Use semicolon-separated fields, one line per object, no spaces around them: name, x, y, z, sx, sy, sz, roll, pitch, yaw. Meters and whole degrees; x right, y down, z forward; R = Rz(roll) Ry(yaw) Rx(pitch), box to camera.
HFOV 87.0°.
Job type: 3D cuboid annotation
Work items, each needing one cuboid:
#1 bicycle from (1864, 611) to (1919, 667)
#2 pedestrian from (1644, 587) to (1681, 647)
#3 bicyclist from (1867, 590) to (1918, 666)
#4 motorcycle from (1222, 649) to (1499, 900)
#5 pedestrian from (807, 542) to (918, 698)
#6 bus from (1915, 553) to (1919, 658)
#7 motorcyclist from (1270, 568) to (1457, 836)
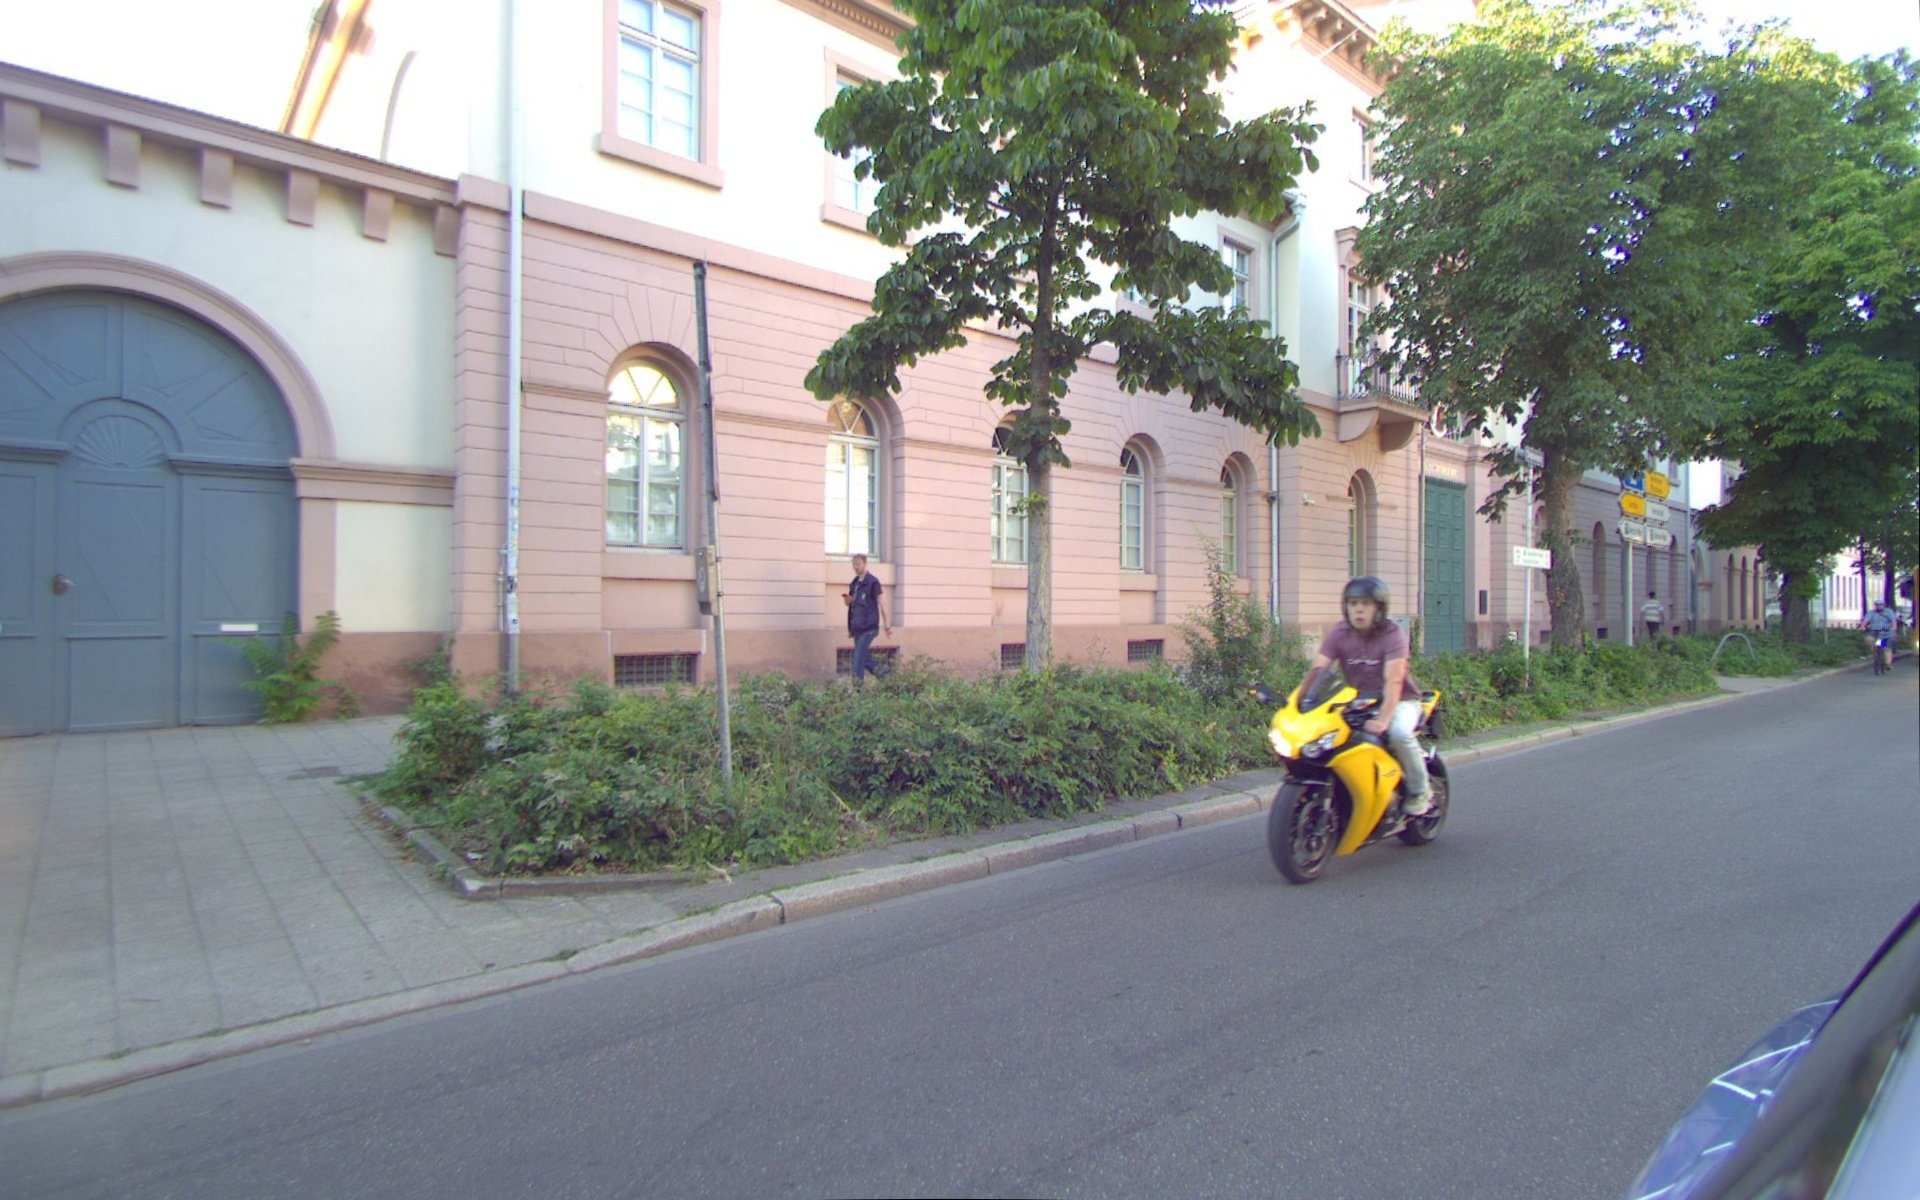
bicycle;23.301;0.953;25.276;2.042;1.347;0.782;1;-2;-41
pedestrian;22.412;0.532;32.275;0.914;1.855;0.799;1;-1;-43
bicyclist;23.323;0.690;25.310;0.812;1.863;0.782;1;-3;-41
motorcycle;2.427;0.914;6.000;1.934;1.175;0.791;1;-2;-44
pedestrian;-1.219;0.224;12.709;1.064;1.861;0.799;1;1;-43
bus;33.258;0.151;32.382;11.870;3.039;2.708;0;-2;-41
motorcyclist;2.378;0.557;5.980;0.687;1.438;0.791;1;-2;-44
